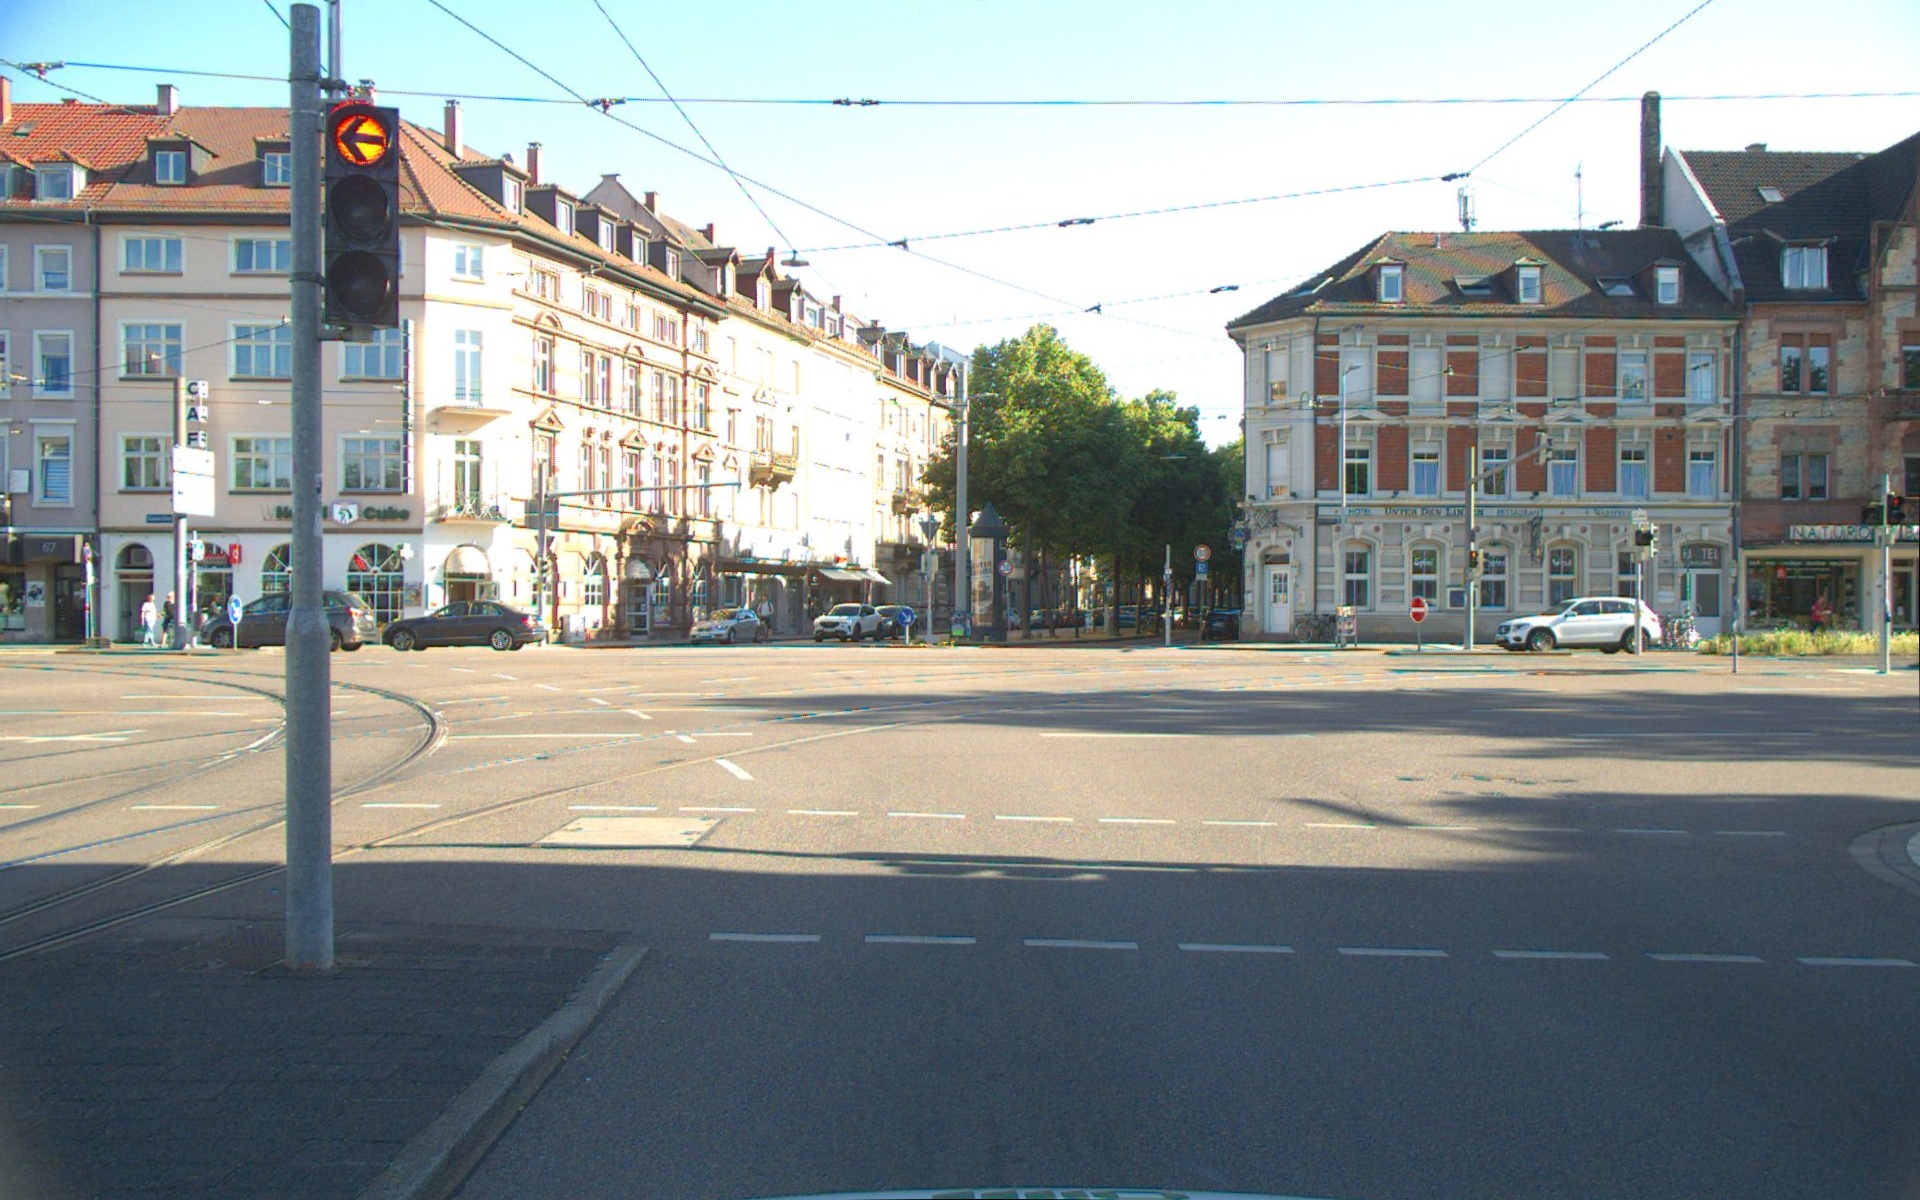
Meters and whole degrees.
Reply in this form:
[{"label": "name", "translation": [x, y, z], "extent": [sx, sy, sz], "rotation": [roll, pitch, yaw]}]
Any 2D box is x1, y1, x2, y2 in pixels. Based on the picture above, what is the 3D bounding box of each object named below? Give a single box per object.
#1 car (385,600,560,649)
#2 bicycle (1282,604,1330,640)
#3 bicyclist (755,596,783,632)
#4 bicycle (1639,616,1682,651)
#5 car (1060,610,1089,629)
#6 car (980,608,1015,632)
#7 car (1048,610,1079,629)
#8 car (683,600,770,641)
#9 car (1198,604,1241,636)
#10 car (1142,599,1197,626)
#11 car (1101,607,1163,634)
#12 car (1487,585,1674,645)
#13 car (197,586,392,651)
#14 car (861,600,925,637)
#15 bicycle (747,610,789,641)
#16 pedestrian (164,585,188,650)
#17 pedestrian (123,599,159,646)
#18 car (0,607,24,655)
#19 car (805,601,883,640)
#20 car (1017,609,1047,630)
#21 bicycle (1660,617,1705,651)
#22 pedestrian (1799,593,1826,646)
[{"label": "car", "translation": [-13.844, 0.682, 47.182], "extent": [4.420, 1.364, 1.999], "rotation": [0, 0, -3]}, {"label": "bicycle", "translation": [11.975, 0.766, 57.293], "extent": [1.603, 1.243, 0.607], "rotation": [0, 0, 16]}, {"label": "bicyclist", "translation": [-7.560, 0.546, 65.457], "extent": [0.776, 1.399, 1.109], "rotation": [0, 0, 14]}, {"label": "bicycle", "translation": [22.603, 1.074, 53.392], "extent": [0.593, 1.069, 1.641], "rotation": [0, 0, -6]}, {"label": "car", "translation": [9.425, 1.582, 136.493], "extent": [1.704, 1.422, 4.127], "rotation": [3, 0, 13]}, {"label": "car", "translation": [2.529, 1.316, 110.008], "extent": [1.704, 1.422, 4.127], "rotation": [3, 0, 9]}, {"label": "car", "translation": [8.248, 1.546, 131.698], "extent": [1.704, 1.422, 4.127], "rotation": [3, 0, 13]}, {"label": "car", "translation": [-9.451, 0.815, 67.213], "extent": [2.052, 1.572, 4.367], "rotation": [0, 0, 13]}, {"label": "car", "translation": [12.975, 1.007, 82.456], "extent": [1.616, 1.551, 3.755], "rotation": [0, -1, 17]}, {"label": "car", "translation": [16.961, 1.021, 133.655], "extent": [4.026, 1.952, 1.746], "rotation": [3, 0, 21]}, {"label": "car", "translation": [12.007, 1.409, 115.375], "extent": [4.024, 1.675, 1.748], "rotation": [3, 0, 15]}, {"label": "car", "translation": [18.073, 0.416, 48.292], "extent": [4.754, 1.689, 1.997], "rotation": [0, 0, -6]}, {"label": "car", "translation": [-17.853, 0.474, 44.509], "extent": [4.418, 1.701, 1.999], "rotation": [0, 0, -2]}, {"label": "car", "translation": [-2.959, 0.801, 73.464], "extent": [1.951, 1.540, 4.004], "rotation": [0, 0, 11]}, {"label": "bicycle", "translation": [-7.574, 0.997, 65.487], "extent": [0.734, 1.155, 2.812], "rotation": [0, 0, 14]}, {"label": "pedestrian", "translation": [-24.668, 0.541, 52.028], "extent": [0.498, 2.049, 0.505], "rotation": [0, 0, 2]}, {"label": "pedestrian", "translation": [-26.981, 0.733, 54.489], "extent": [0.774, 1.553, 0.859], "rotation": [0, 0, 0]}, {"label": "car", "translation": [-32.064, 1.000, 52.149], "extent": [3.910, 1.489, 1.998], "rotation": [-1, 1, -6]}, {"label": "car", "translation": [-4.652, 0.793, 67.071], "extent": [2.052, 1.525, 4.003], "rotation": [0, 0, 13]}, {"label": "car", "translation": [5.338, 1.420, 122.831], "extent": [1.704, 1.422, 4.127], "rotation": [3, 0, 9]}, {"label": "bicycle", "translation": [23.329, 1.087, 53.413], "extent": [0.593, 1.069, 1.641], "rotation": [0, 0, -6]}, {"label": "pedestrian", "translation": [29.155, 0.658, 56.557], "extent": [0.694, 1.782, 0.421], "rotation": [0, 0, 0]}]
